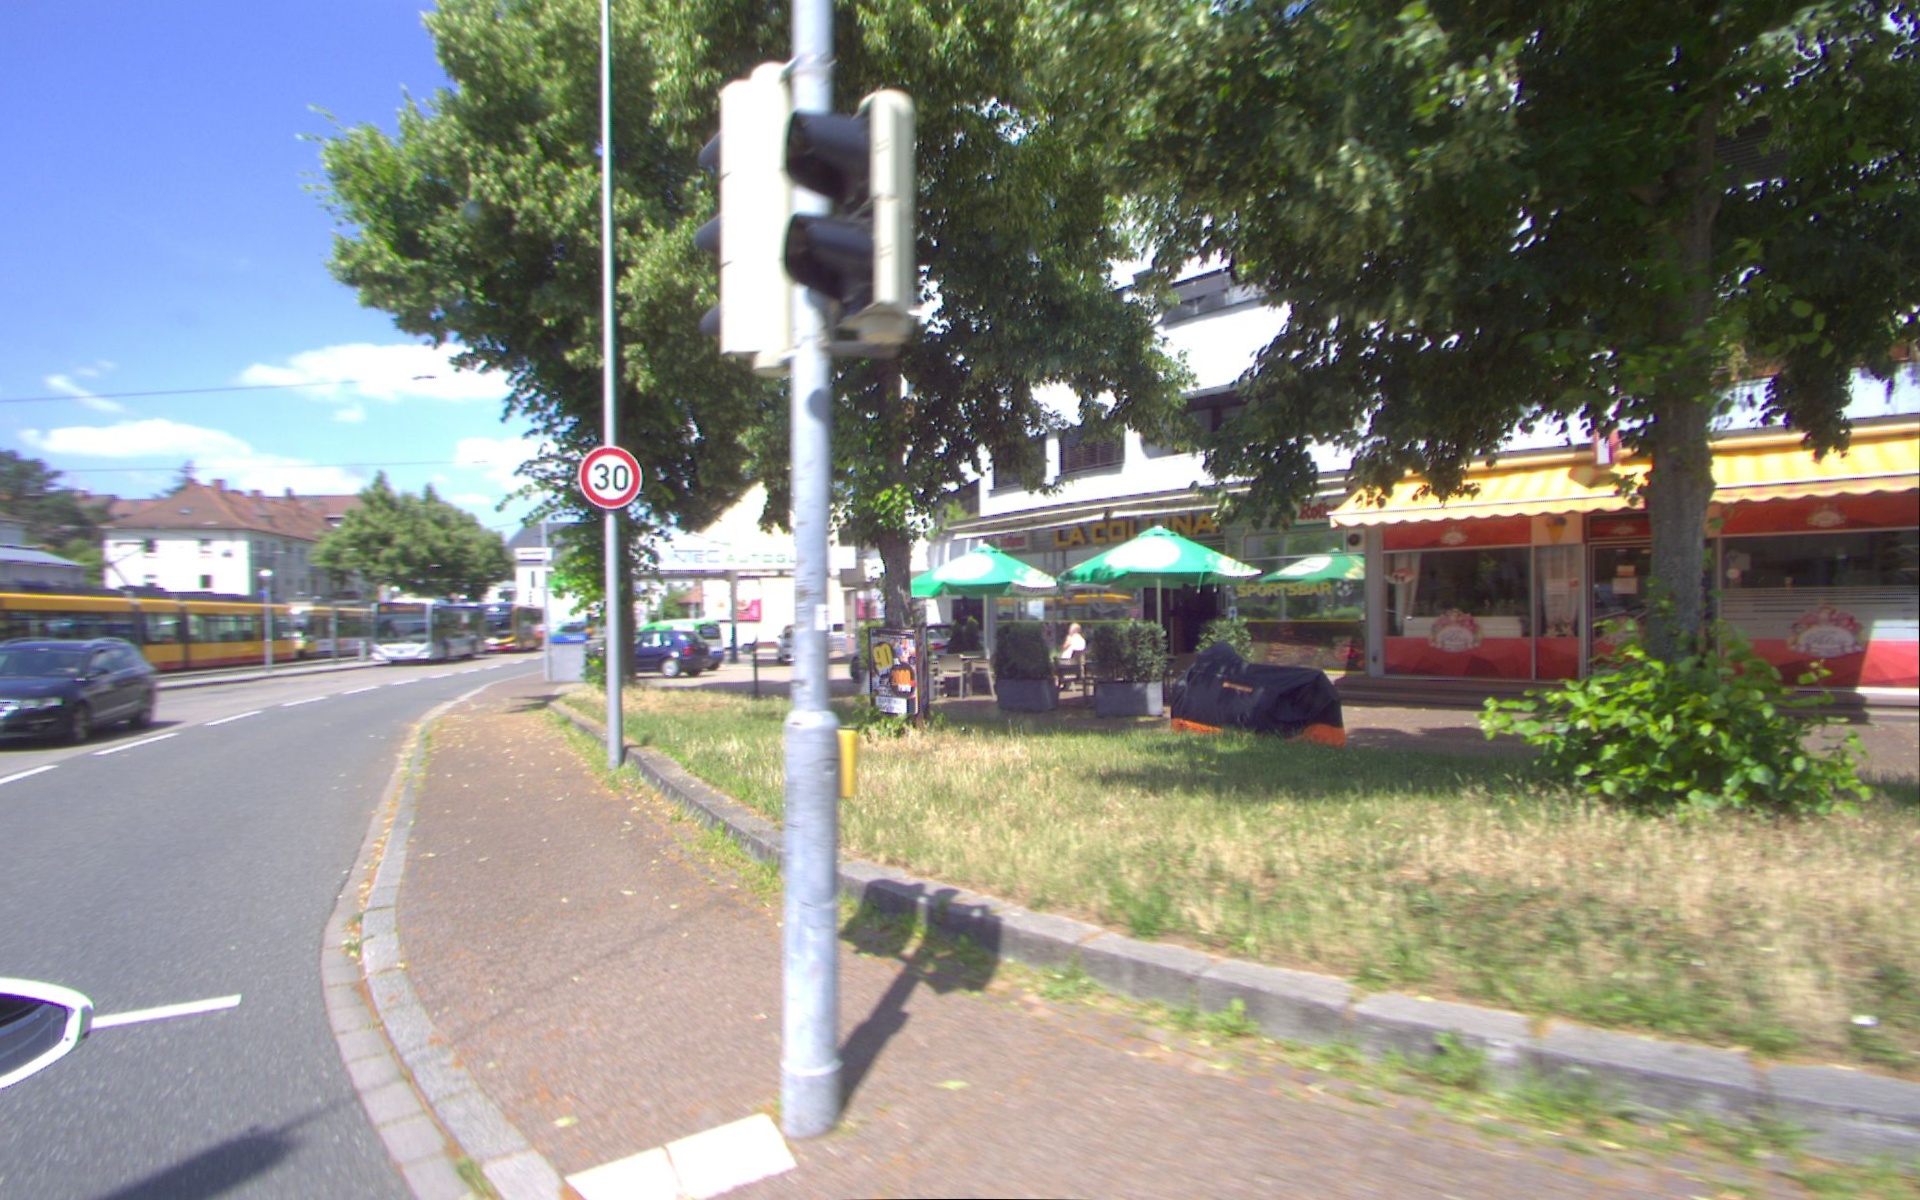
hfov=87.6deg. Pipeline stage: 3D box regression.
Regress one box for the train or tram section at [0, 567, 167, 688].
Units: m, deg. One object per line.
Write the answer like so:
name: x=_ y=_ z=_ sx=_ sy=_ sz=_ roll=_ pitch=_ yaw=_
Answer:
train or tram section: x=-30.661 y=0.891 z=31.952 sx=2.767 sy=3.614 sz=14.166 roll=0 pitch=-1 yaw=-14

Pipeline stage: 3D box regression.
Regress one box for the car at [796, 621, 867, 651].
car: x=-8.248 y=2.292 z=64.196 sx=4.243 sy=1.833 sz=1.995 roll=1 pitch=1 yaw=-19

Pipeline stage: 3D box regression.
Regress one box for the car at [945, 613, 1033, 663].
car: x=0.916 y=1.280 z=34.725 sx=1.963 sy=1.605 sz=4.377 roll=0 pitch=-1 yaw=-14

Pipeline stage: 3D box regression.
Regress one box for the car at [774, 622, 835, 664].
car: x=-6.424 y=1.726 z=40.997 sx=1.978 sy=1.616 sz=4.283 roll=0 pitch=-2 yaw=-16

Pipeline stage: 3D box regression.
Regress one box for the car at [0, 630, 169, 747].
car: x=-13.930 y=1.237 z=15.198 sx=1.968 sy=1.538 sz=4.497 roll=0 pitch=-2 yaw=-24

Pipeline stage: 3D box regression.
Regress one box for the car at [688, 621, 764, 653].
car: x=-14.162 y=2.236 z=60.755 sx=4.235 sy=1.833 sz=1.999 roll=1 pitch=1 yaw=-5

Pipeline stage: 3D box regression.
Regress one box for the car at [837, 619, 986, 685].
car: x=-1.291 y=1.239 z=24.424 sx=1.685 sy=1.447 sz=4.338 roll=0 pitch=-2 yaw=-33

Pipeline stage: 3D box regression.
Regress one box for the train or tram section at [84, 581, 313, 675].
train or tram section: x=-34.086 y=1.256 z=45.944 sx=2.743 sy=3.614 sz=14.690 roll=0 pitch=-1 yaw=-14

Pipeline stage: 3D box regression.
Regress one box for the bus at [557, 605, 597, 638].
bus: x=-40.046 y=2.325 z=104.999 sx=2.689 sy=3.260 sz=11.037 roll=0 pitch=-1 yaw=-14

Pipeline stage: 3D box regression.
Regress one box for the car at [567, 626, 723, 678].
car: x=-9.552 y=1.566 z=30.516 sx=4.092 sy=1.458 sz=1.902 roll=-2 pitch=-1 yaw=8

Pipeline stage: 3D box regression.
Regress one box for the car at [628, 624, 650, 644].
car: x=-32.307 y=3.399 z=100.820 sx=1.781 sy=2.006 sz=3.996 roll=0 pitch=-1 yaw=-13

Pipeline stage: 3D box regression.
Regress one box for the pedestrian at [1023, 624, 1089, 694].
pedestrian: x=1.872 y=1.132 z=19.584 sx=0.806 sy=1.322 sz=1.009 roll=0 pitch=-1 yaw=-37

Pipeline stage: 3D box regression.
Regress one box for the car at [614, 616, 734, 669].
car: x=-10.300 y=1.519 z=36.007 sx=3.962 sy=1.817 sz=1.835 roll=-2 pitch=-1 yaw=27

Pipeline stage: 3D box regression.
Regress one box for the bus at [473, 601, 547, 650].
bus: x=-31.374 y=1.798 z=70.282 sx=2.689 sy=3.169 sz=11.995 roll=0 pitch=-1 yaw=-14

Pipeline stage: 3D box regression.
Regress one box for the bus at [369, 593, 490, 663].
bus: x=-26.870 y=1.407 z=51.451 sx=2.689 sy=3.169 sz=11.995 roll=0 pitch=-1 yaw=-14

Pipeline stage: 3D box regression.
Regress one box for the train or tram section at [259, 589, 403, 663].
train or tram section: x=-38.039 y=1.581 z=61.471 sx=2.743 sy=3.945 sz=15.535 roll=0 pitch=-1 yaw=-14
